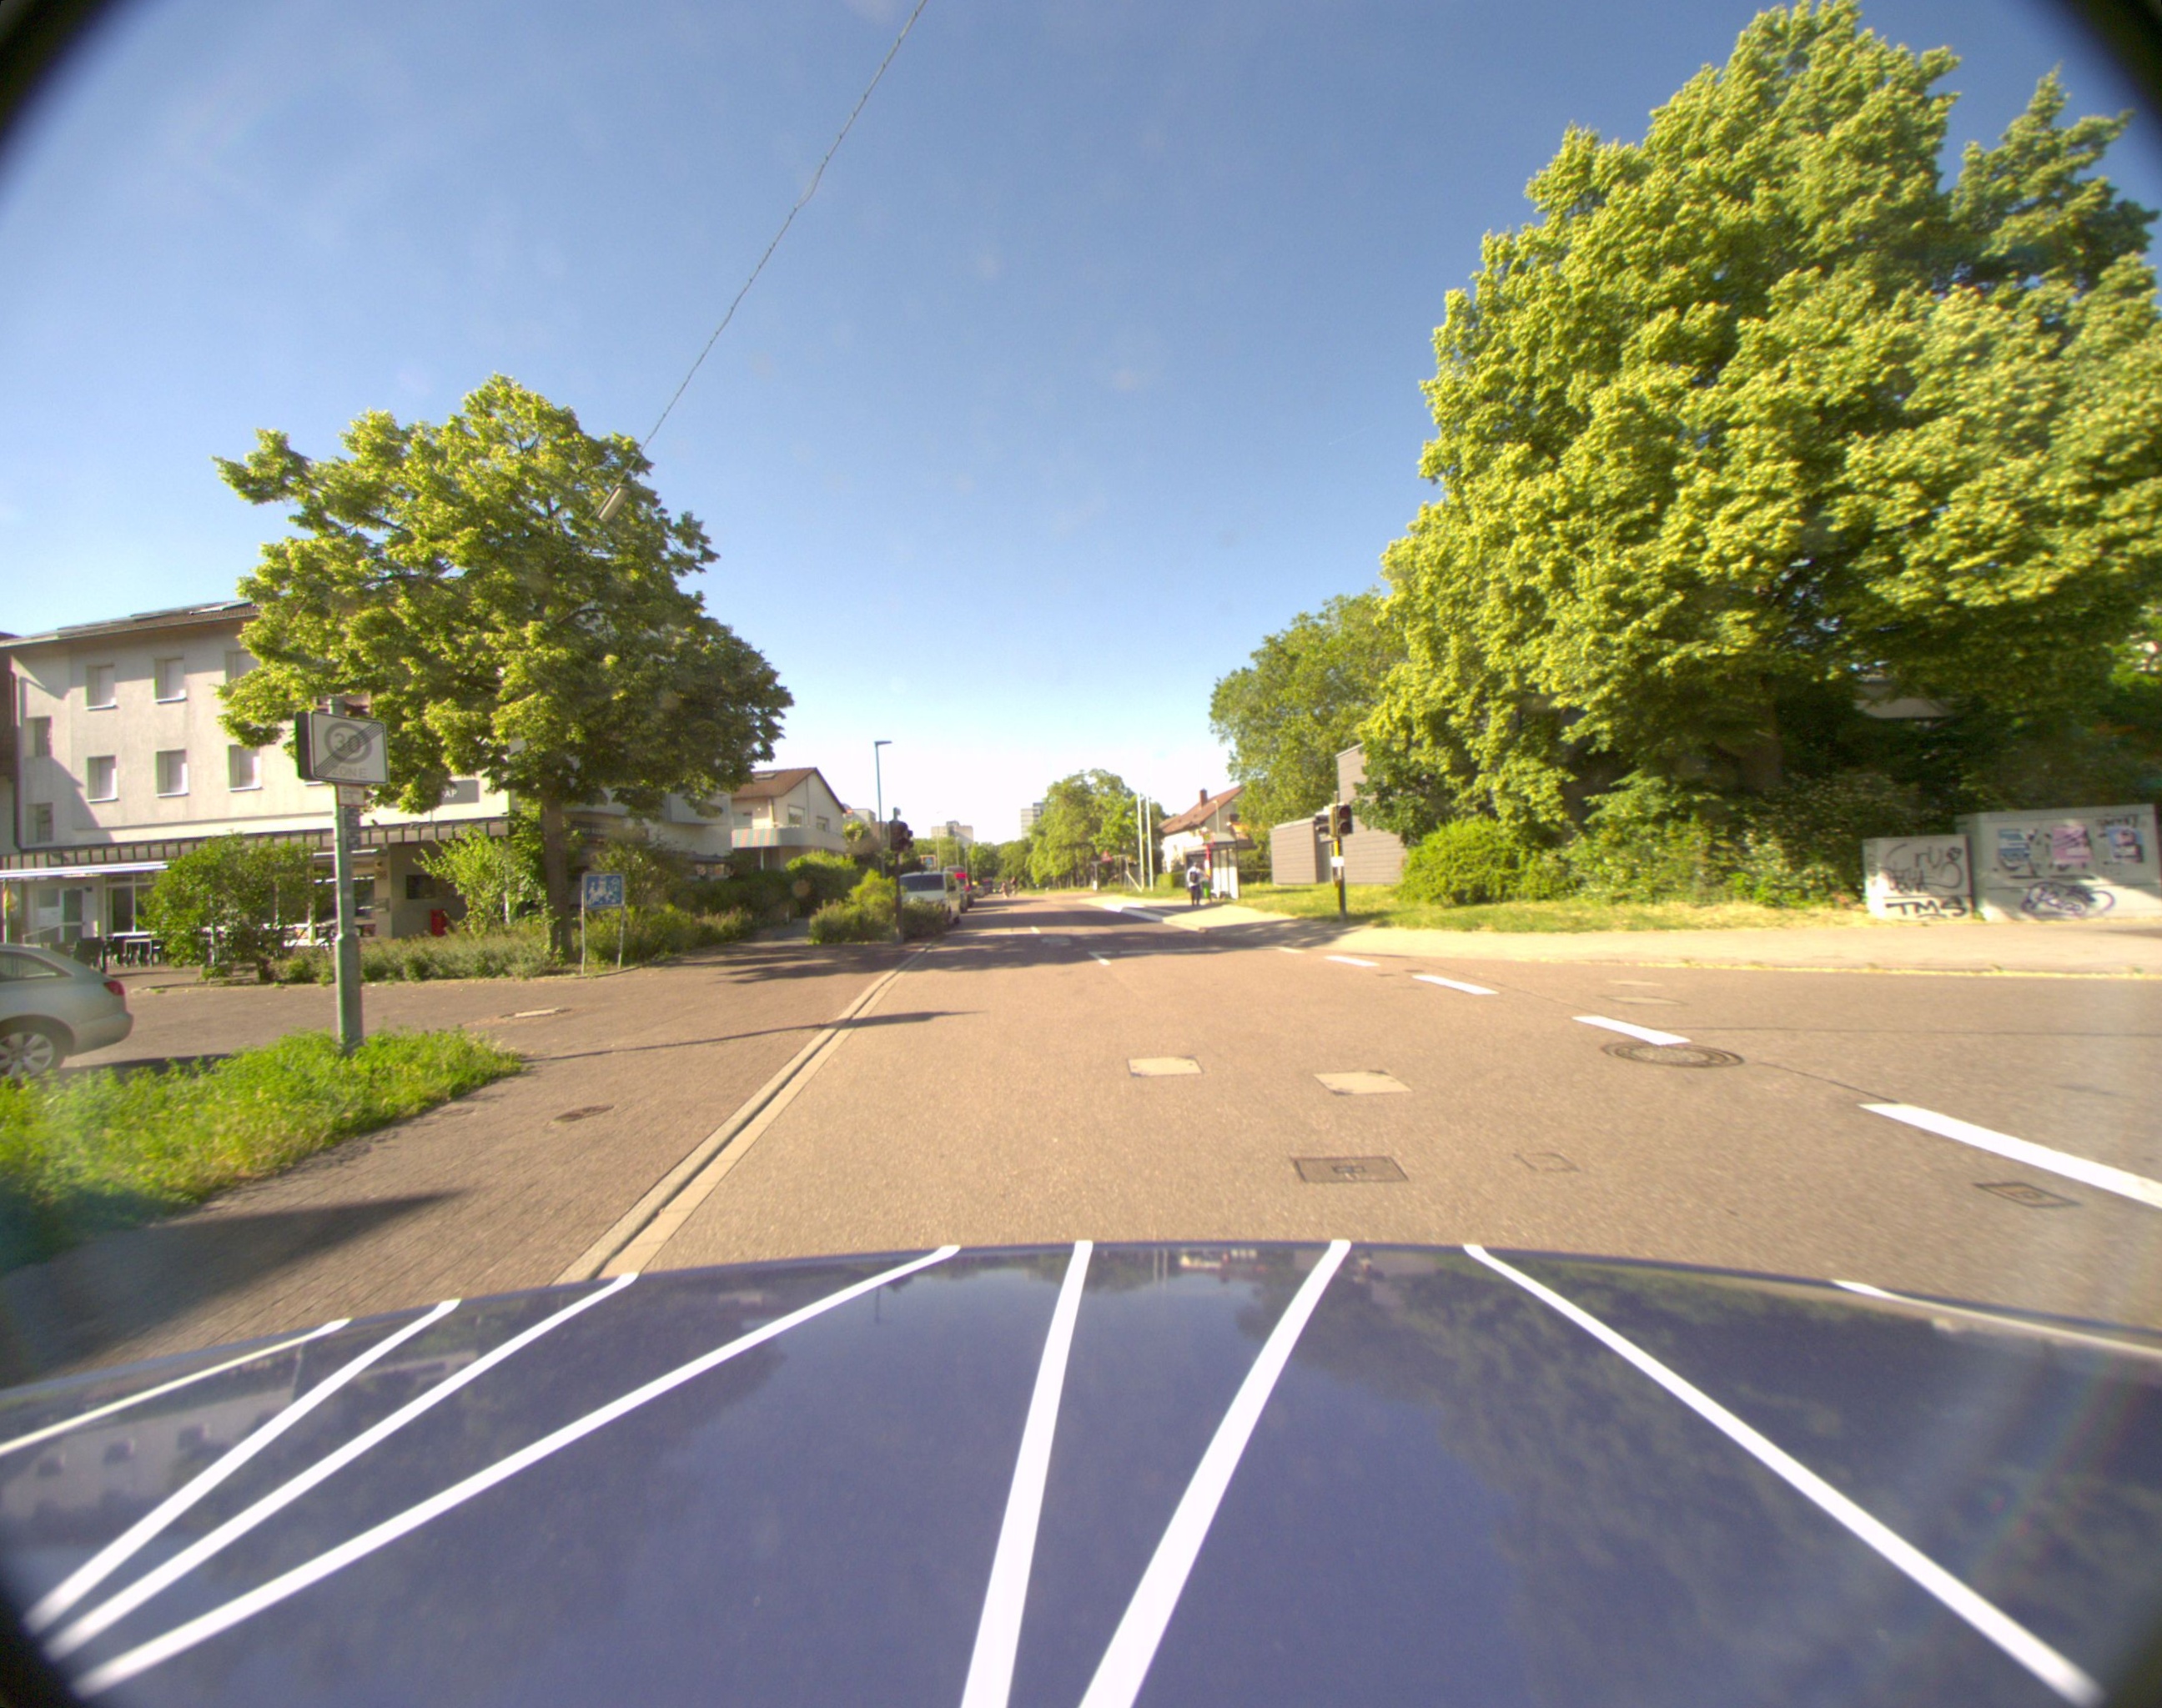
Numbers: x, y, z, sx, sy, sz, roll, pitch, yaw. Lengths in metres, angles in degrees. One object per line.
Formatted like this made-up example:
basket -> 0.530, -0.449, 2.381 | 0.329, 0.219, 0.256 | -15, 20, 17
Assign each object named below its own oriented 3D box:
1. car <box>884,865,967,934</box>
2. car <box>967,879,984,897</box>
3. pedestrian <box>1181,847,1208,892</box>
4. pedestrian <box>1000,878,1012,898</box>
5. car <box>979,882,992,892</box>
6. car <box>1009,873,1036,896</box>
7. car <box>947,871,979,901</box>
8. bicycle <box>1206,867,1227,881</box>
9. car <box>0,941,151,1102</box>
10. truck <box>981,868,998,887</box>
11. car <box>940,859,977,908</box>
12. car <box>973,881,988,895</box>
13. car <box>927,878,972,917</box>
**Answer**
car -> -5.331, 1.487, 26.689 | 1.999, 2.066, 4.577 | -4, 0, -2
car -> -11.049, 3.539, 79.685 | 1.622, 1.765, 3.980 | -4, -1, -6
pedestrian -> 4.755, 0.649, 31.833 | 0.716, 1.792, 0.772 | -4, 1, 34
pedestrian -> -5.927, 2.688, 60.216 | 0.835, 1.578, 0.632 | 0, 1, 11
car -> -16.911, 5.840, 134.853 | 1.999, 1.587, 4.577 | -3, -1, -4
car -> -5.547, 2.854, 71.810 | 1.966, 1.908, 4.574 | -4, 0, -10
car -> -8.183, 2.228, 53.086 | 1.862, 1.837, 4.558 | -5, -1, -7
bicycle -> 11.050, 1.647, 61.960 | 1.599, 0.978, 0.500 | -4, -3, 10
car -> -11.174, 1.603, 5.826 | 1.998, 1.412, 4.806 | -4, -3, 5
truck -> -22.772, 5.897, 189.535 | 3.603, 4.542, 10.021 | -3, -1, -6
car -> -7.427, 1.771, 46.233 | 1.963, 2.628, 5.220 | -4, -1, -9
car -> -12.044, 4.095, 91.274 | 1.622, 1.478, 3.980 | -4, -1, -6
car -> -6.733, 2.179, 39.306 | 1.963, 1.727, 4.574 | -4, -1, -7
